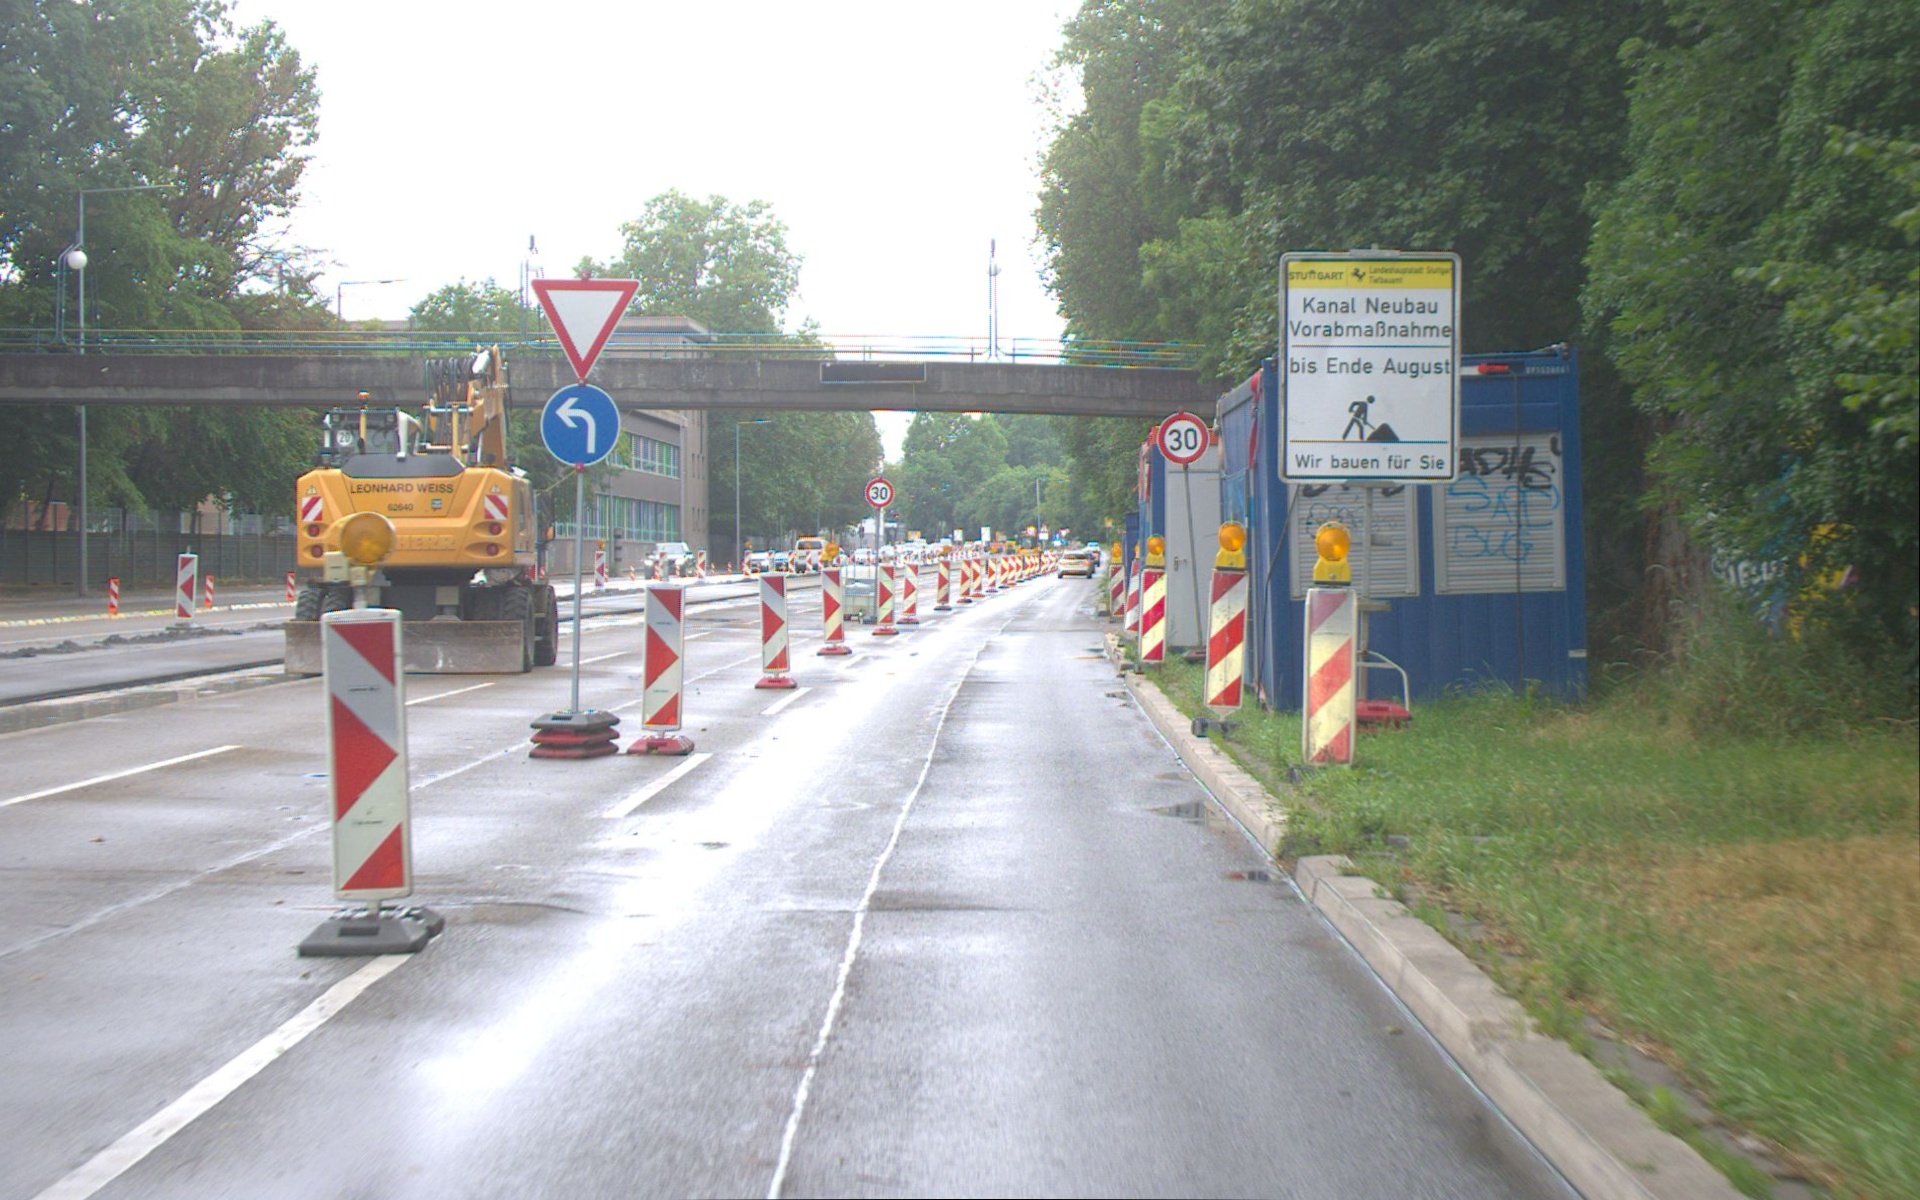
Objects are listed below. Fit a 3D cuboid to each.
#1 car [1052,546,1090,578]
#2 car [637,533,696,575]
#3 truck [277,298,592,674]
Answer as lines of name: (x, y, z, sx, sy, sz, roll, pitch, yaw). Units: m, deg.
car: (5.939, -2.028, 183.868, 1.993, 1.634, 4.000, -1, 1, 2)
car: (-13.019, -2.044, 152.552, 1.971, 1.800, 4.607, -1, 1, 3)
truck: (-6.591, -1.382, 44.776, 2.897, 4.244, 10.757, 1, 1, -3)
